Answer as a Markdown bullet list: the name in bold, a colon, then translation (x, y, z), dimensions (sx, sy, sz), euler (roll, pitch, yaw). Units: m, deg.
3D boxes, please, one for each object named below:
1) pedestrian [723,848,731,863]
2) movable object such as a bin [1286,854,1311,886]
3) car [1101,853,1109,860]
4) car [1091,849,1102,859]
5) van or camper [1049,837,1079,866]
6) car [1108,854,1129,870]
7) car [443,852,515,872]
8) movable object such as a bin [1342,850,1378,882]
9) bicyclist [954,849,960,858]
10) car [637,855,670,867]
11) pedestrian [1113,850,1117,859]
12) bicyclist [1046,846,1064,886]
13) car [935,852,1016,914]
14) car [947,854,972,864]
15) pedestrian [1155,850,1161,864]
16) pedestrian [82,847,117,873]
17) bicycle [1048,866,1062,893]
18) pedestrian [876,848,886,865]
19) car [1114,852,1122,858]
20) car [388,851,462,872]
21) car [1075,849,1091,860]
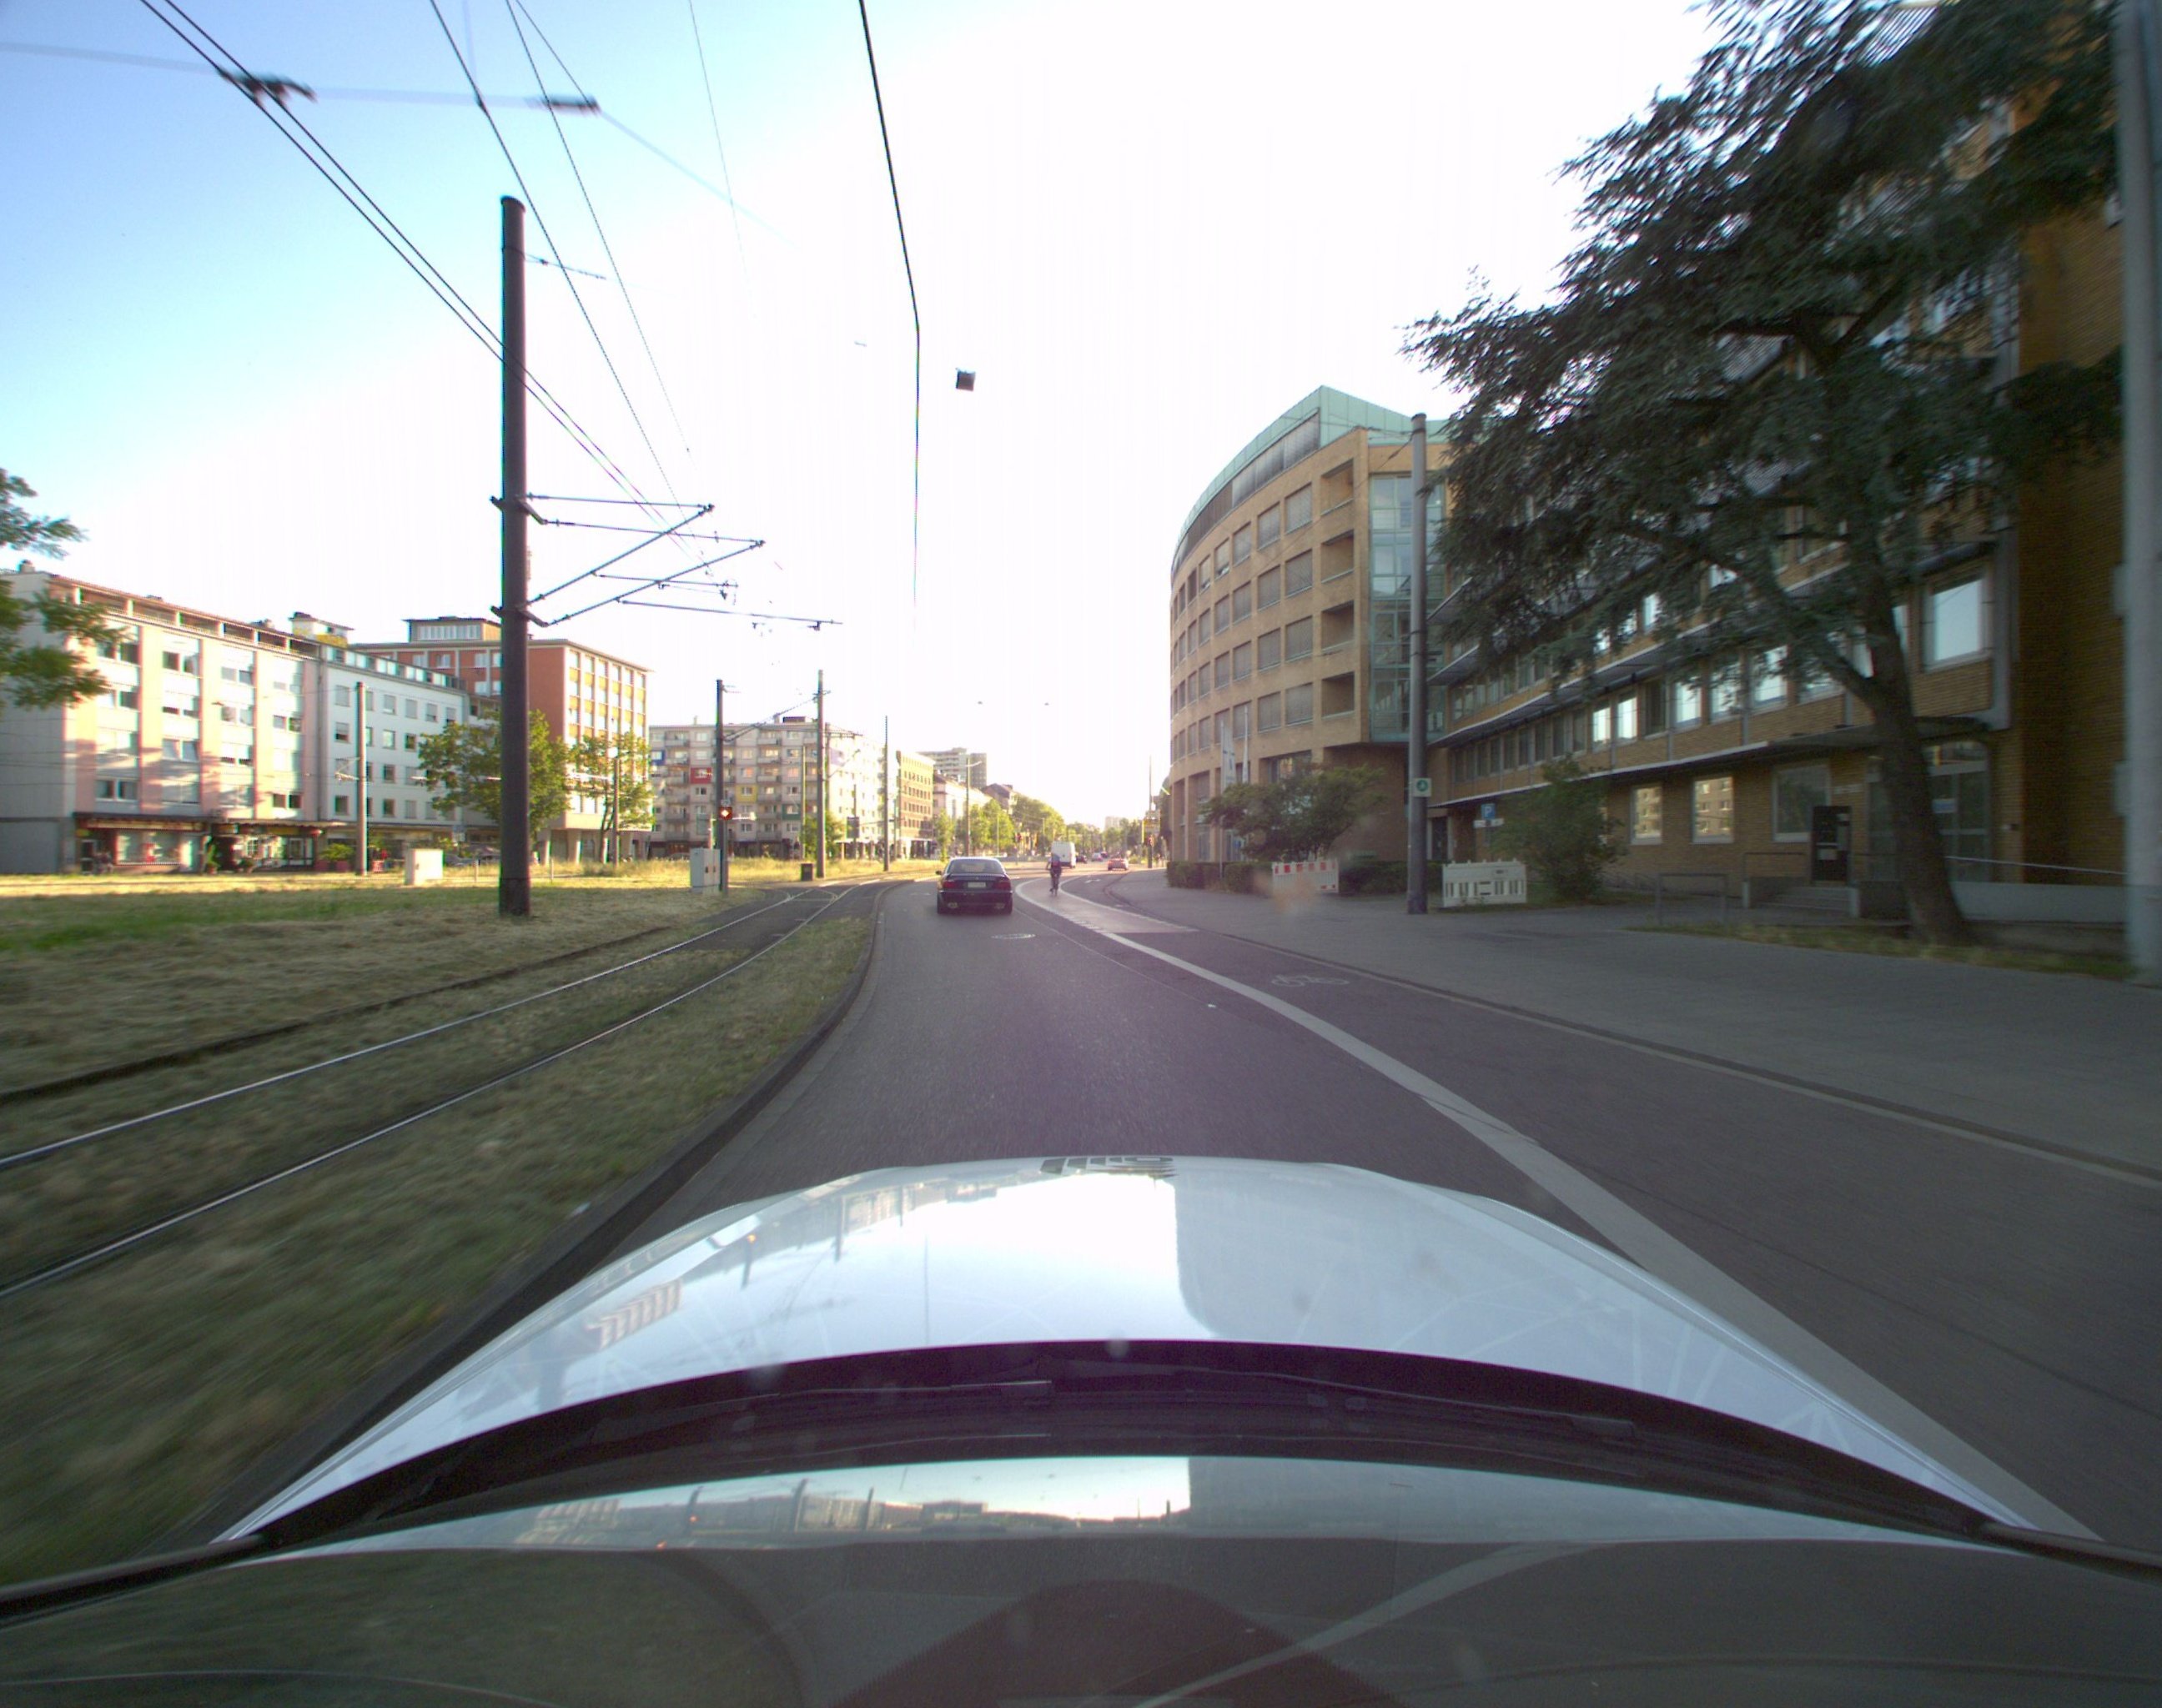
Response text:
- **pedestrian**: translation (-43.964, 0.149, 101.145), dimensions (0.701, 1.851, 0.738), euler (0, 1, 6)
- **movable object such as a bin**: translation (10.275, 0.724, 38.445), dimensions (0.962, 1.437, 1.353), euler (0, 1, 24)
- **car**: translation (5.558, 0.496, 189.376), dimensions (1.787, 1.566, 4.002), euler (0, 1, 2)
- **car**: translation (2.670, -0.058, 140.304), dimensions (1.787, 1.566, 4.002), euler (0, 1, 2)
- **van or camper**: translation (-1.534, -0.272, 77.343), dimensions (2.251, 2.624, 4.511), euler (0, 1, 6)
- **car**: translation (3.551, 0.722, 76.645), dimensions (1.775, 1.354, 4.273), euler (1, 1, 5)
- **car**: translation (-45.301, 0.558, 61.365), dimensions (1.689, 1.390, 4.025), euler (0, 1, 30)
- **movable object such as a bin**: translation (12.894, 0.550, 37.661), dimensions (1.337, 1.424, 0.923), euler (-1, 1, -2)
- **bicyclist**: translation (-19.952, -0.079, 131.086), dimensions (0.854, 1.442, 0.660), euler (2, 1, -13)
- **car**: translation (-62.996, 1.045, 120.001), dimensions (3.852, 1.585, 1.804), euler (0, 1, 0)
- **pedestrian**: translation (5.576, 0.134, 133.767), dimensions (0.612, 1.475, 0.802), euler (0, 1, 10)
- **bicyclist**: translation (-0.996, 0.451, 31.134), dimensions (0.653, 1.483, 1.037), euler (2, 0, -2)
- **car**: translation (-2.693, 0.677, 21.426), dimensions (1.827, 1.354, 4.632), euler (2, 1, -6)
- **car**: translation (-19.834, 0.799, 132.890), dimensions (3.992, 1.434, 1.711), euler (1, 1, -14)
- **pedestrian**: translation (8.465, 0.319, 89.625), dimensions (0.674, 1.569, 0.801), euler (0, 1, 3)
- **pedestrian**: translation (-60.021, 0.361, 49.801), dimensions (1.113, 1.528, 0.854), euler (0, 1, 3)
- **bicycle**: translation (-0.998, 0.969, 31.179), dimensions (0.513, 0.954, 1.774), euler (1, 1, -2)
- **pedestrian**: translation (-20.274, 0.255, 82.506), dimensions (0.713, 1.762, 0.654), euler (0, 1, 27)
- **car**: translation (8.977, 0.253, 199.075), dimensions (1.787, 1.566, 4.002), euler (0, 1, 2)
- **car**: translation (-49.890, 0.537, 62.020), dimensions (1.738, 1.526, 4.025), euler (0, 1, 28)
- **car**: translation (0.308, 0.116, 110.112), dimensions (1.728, 1.385, 4.008), euler (0, 1, 6)
